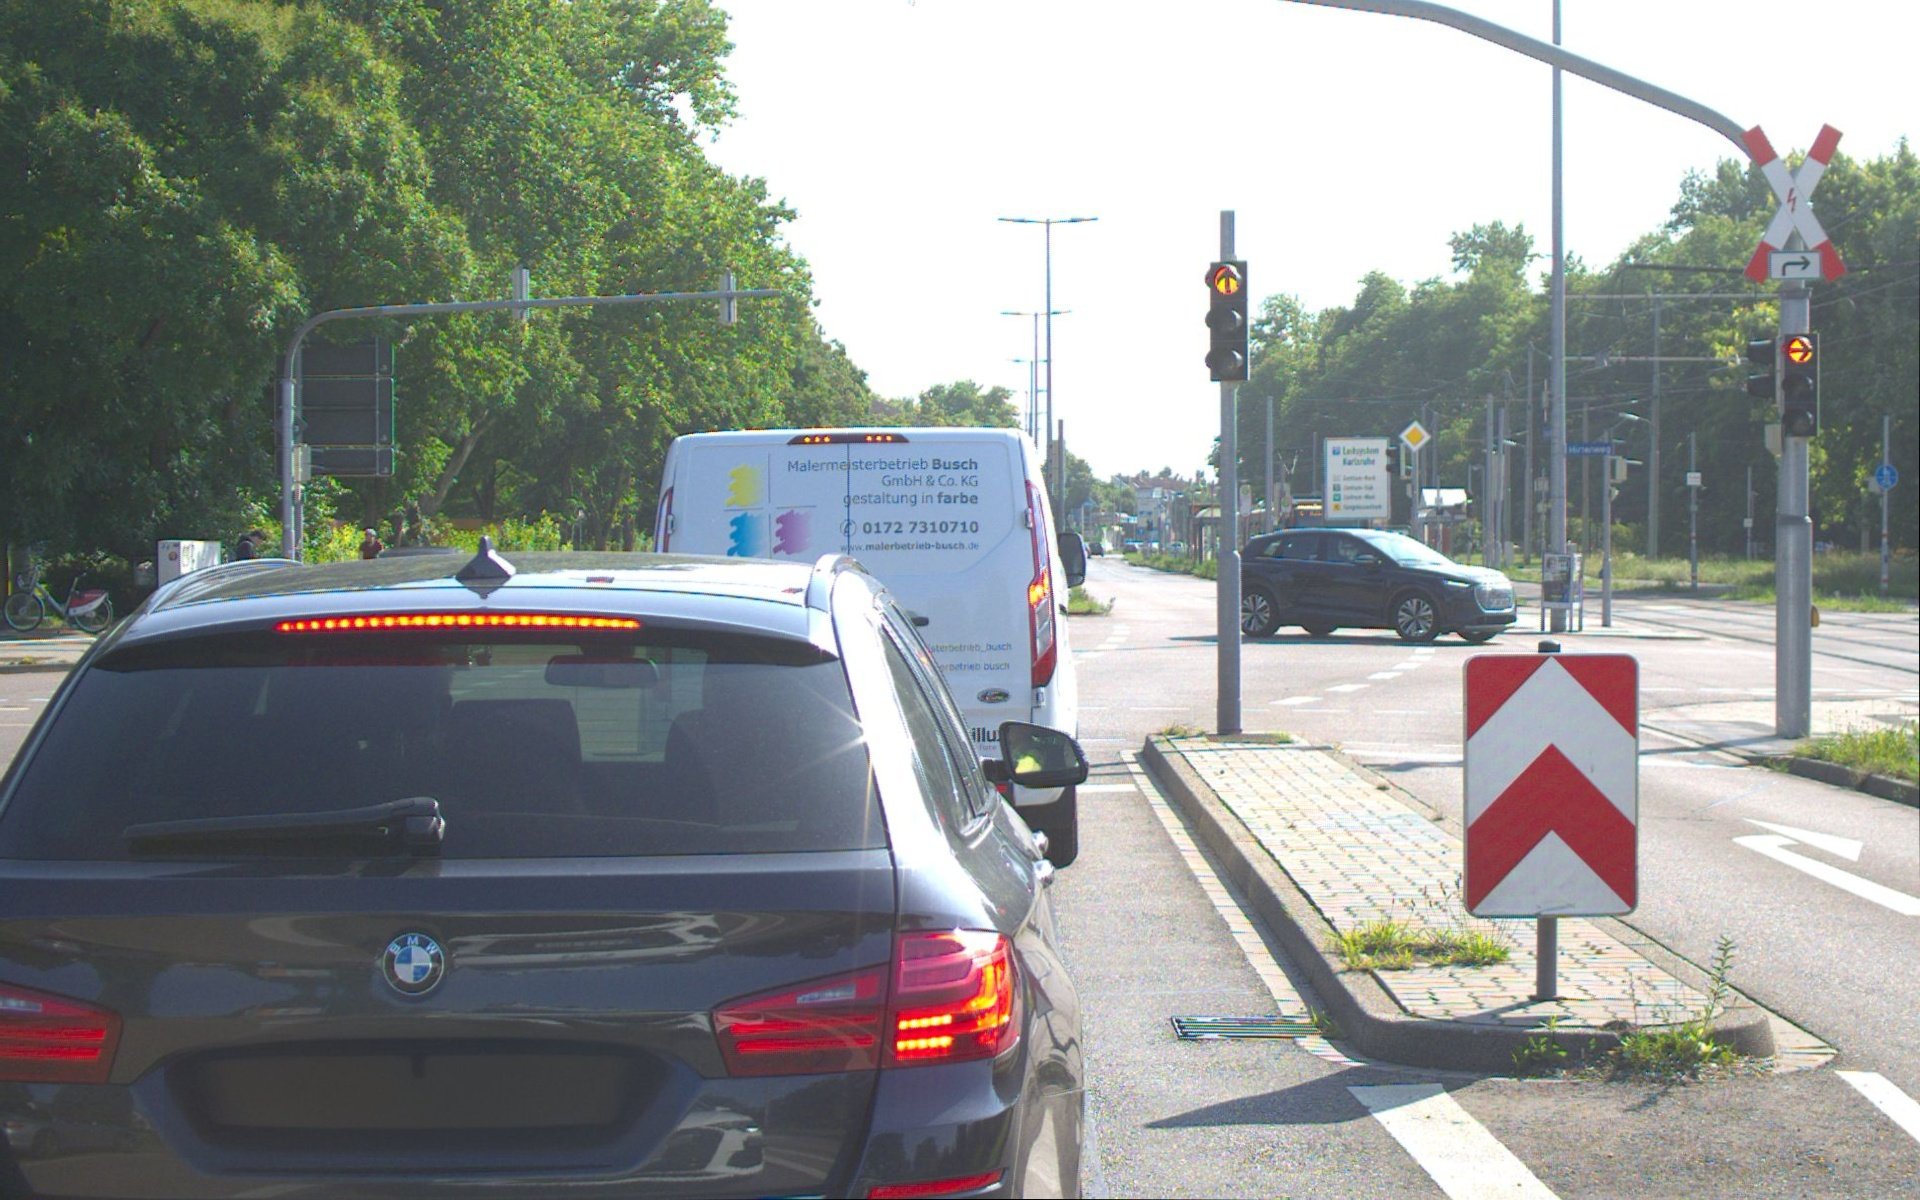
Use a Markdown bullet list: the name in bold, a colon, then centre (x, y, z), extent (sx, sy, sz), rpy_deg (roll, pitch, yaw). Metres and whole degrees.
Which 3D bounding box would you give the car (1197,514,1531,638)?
- **car**: centre (5.823, -0.376, 49.828), extent (4.617, 1.716, 1.645), rpy_deg (1, 1, 37)

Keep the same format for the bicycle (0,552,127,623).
- **bicycle**: centre (-14.269, -0.197, 54.650), extent (1.909, 1.115, 0.632), rpy_deg (0, 1, 0)

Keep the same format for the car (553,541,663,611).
- **car**: centre (-7.399, -0.527, 72.638), extent (1.779, 1.410, 4.245), rpy_deg (0, 1, 2)

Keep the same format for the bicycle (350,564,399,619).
- **bicycle**: centre (-11.361, -0.178, 66.772), extent (0.619, 1.037, 2.072), rpy_deg (0, 1, 0)

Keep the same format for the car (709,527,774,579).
- **car**: centre (-6.864, -1.482, 108.279), extent (1.745, 1.556, 4.000), rpy_deg (-2, 1, 0)

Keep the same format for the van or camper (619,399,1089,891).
- **van or camper**: centre (-0.414, 0.148, 16.898), extent (1.993, 2.089, 4.598), rpy_deg (0, 1, 1)

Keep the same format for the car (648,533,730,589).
- **car**: centre (-7.458, -1.092, 94.916), extent (1.702, 1.460, 4.369), rpy_deg (-1, 1, 2)

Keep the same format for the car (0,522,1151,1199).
- **car**: centre (-0.723, 0.612, 6.443), extent (1.903, 1.500, 4.065), rpy_deg (0, 1, 0)

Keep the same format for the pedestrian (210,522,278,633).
- **pedestrian**: centre (-11.370, -0.360, 54.592), extent (0.816, 1.746, 0.931), rpy_deg (0, 1, 5)

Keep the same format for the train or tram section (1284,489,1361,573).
- **train or tram section**: centre (16.267, -3.035, 155.020), extent (2.796, 3.606, 12.954), rpy_deg (1, 1, 3)

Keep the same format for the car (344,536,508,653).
- **car**: centre (-7.546, -0.109, 48.843), extent (1.633, 1.555, 3.676), rpy_deg (-2, 1, 1)

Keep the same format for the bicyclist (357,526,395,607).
- **bicyclist**: centre (-11.353, -0.654, 66.808), extent (0.607, 1.555, 0.603), rpy_deg (2, 1, -1)
